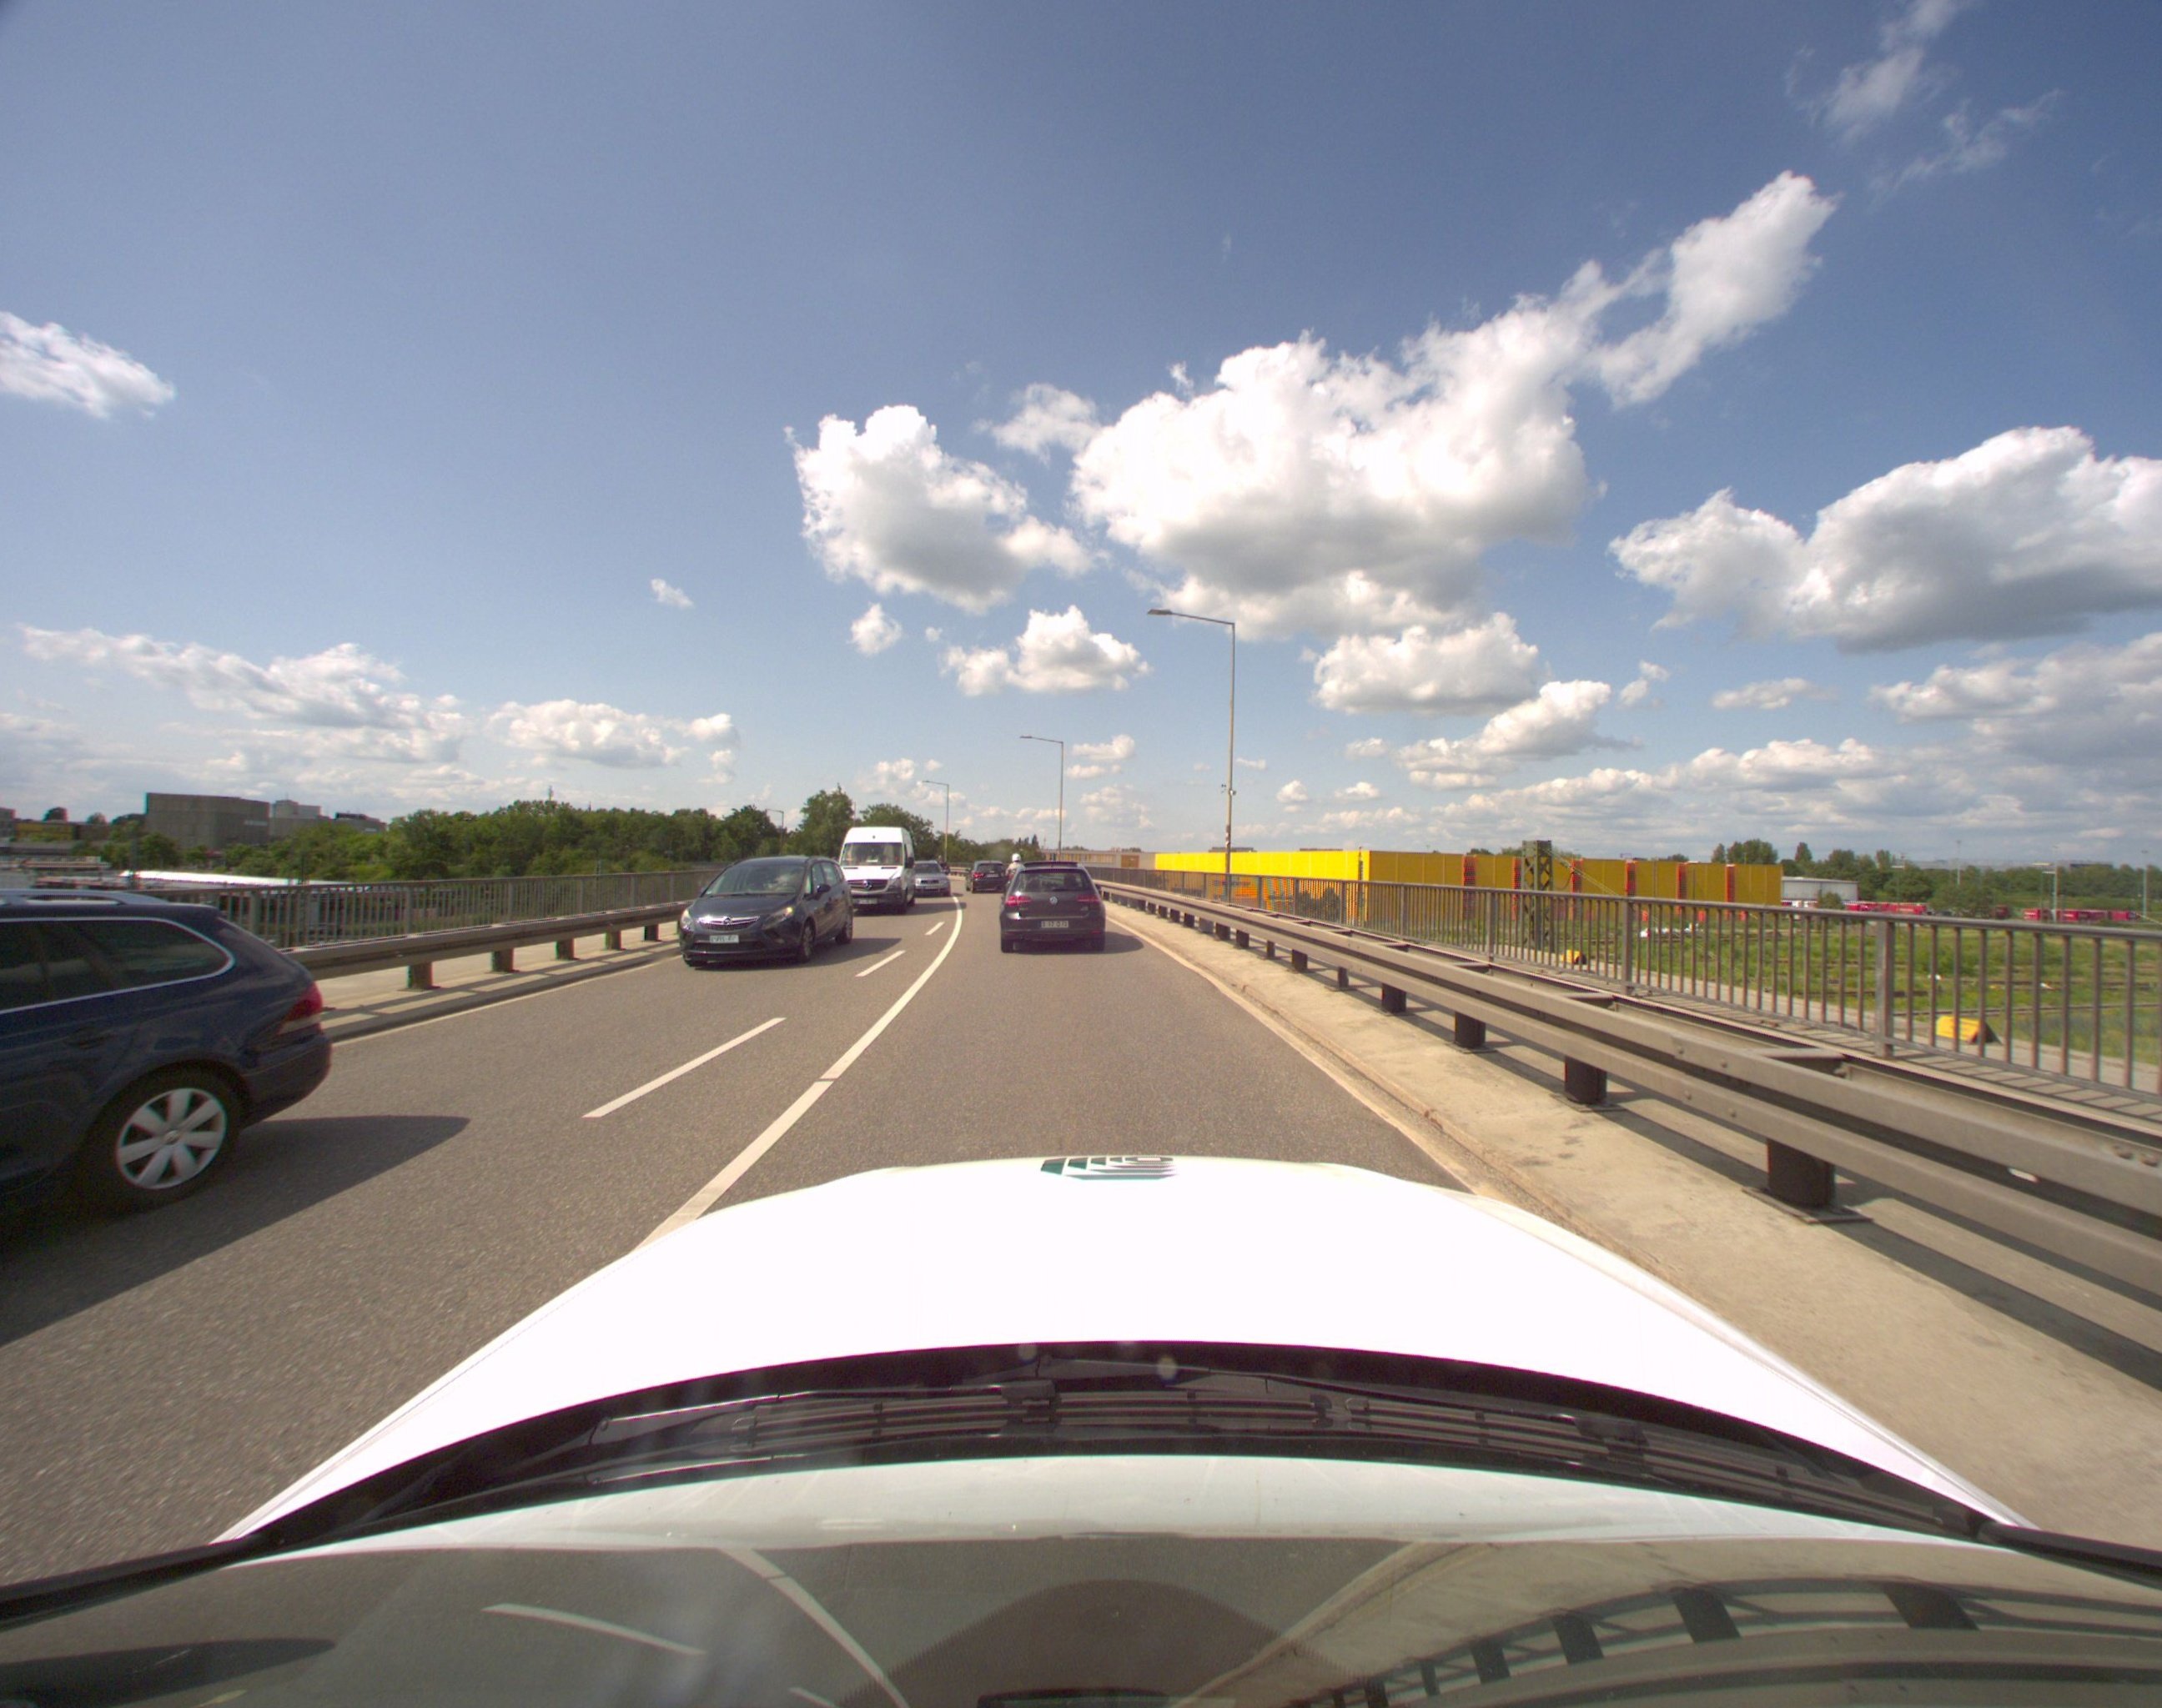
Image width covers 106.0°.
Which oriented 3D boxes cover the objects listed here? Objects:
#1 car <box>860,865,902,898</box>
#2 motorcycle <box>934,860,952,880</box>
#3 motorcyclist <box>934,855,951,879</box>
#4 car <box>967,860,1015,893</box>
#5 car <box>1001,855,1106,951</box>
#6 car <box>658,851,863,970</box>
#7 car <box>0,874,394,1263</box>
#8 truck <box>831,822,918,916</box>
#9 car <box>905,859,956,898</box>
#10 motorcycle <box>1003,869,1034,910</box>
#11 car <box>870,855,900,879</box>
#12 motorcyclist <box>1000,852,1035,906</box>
[{"bbox_3d":[-9.079,1.184,36.712,1.635,1.345,4.229,-2,0,-16],"label":"car"},{"bbox_3d":[-9.286,1.048,54.609,0.889,1.247,2.385,0,0,-17],"label":"motorcycle"},{"bbox_3d":[-9.310,0.855,54.677,0.968,1.596,1.118,0,-1,-17],"label":"motorcyclist"},{"bbox_3d":[-4.122,0.989,36.723,1.684,1.388,3.721,0,-1,-14],"label":"car"},{"bbox_3d":[-0.560,0.785,14.672,1.639,1.479,3.866,0,-1,-4],"label":"car"},{"bbox_3d":[-5.078,0.804,13.628,1.712,1.632,4.425,-1,0,-1],"label":"car"},{"bbox_3d":[-4.979,0.860,2.765,1.654,1.454,4.324,-1,0,-1],"label":"car"},{"bbox_3d":[-6.168,0.412,25.002,1.993,2.507,5.929,-1,0,-9],"label":"truck"},{"bbox_3d":[-6.325,0.968,33.970,1.769,1.460,4.276,-2,0,-15],"label":"car"},{"bbox_3d":[-1.941,1.064,25.080,0.788,1.132,2.392,0,0,-8],"label":"motorcycle"},{"bbox_3d":[-13.936,0.897,57.670,1.689,1.596,4.256,-1,0,-18],"label":"car"},{"bbox_3d":[-1.975,0.746,25.168,0.966,1.620,1.121,0,-1,-9],"label":"motorcyclist"}]
